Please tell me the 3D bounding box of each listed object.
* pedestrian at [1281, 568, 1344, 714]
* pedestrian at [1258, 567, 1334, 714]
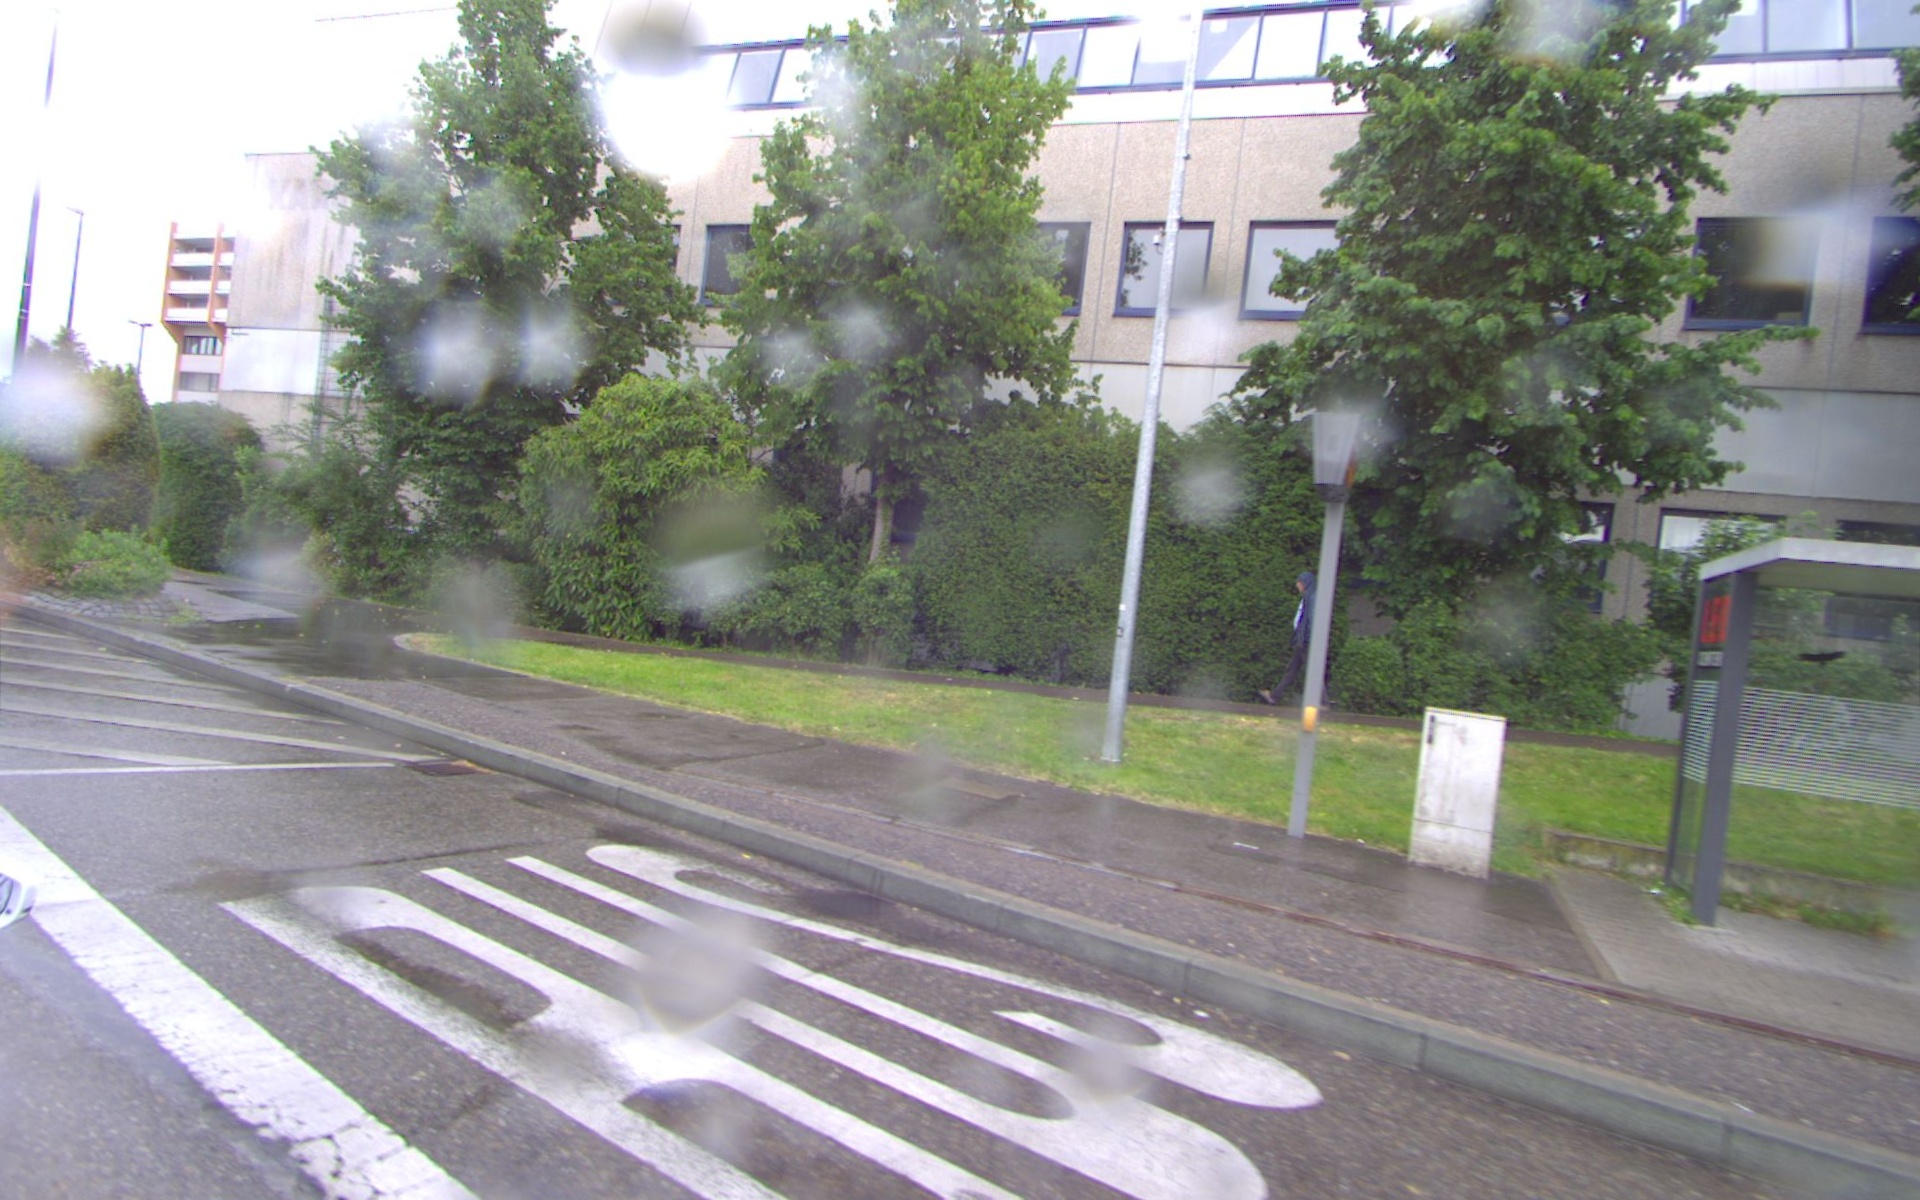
[{"bbox_3d":[4.606,0.537,13.161,0.661,1.819,0.674,3,-1,19],"label":"pedestrian"},{"bbox_3d":[4.460,0.540,13.331,0.782,1.817,0.850,5,-1,21],"label":"pedestrian"}]
